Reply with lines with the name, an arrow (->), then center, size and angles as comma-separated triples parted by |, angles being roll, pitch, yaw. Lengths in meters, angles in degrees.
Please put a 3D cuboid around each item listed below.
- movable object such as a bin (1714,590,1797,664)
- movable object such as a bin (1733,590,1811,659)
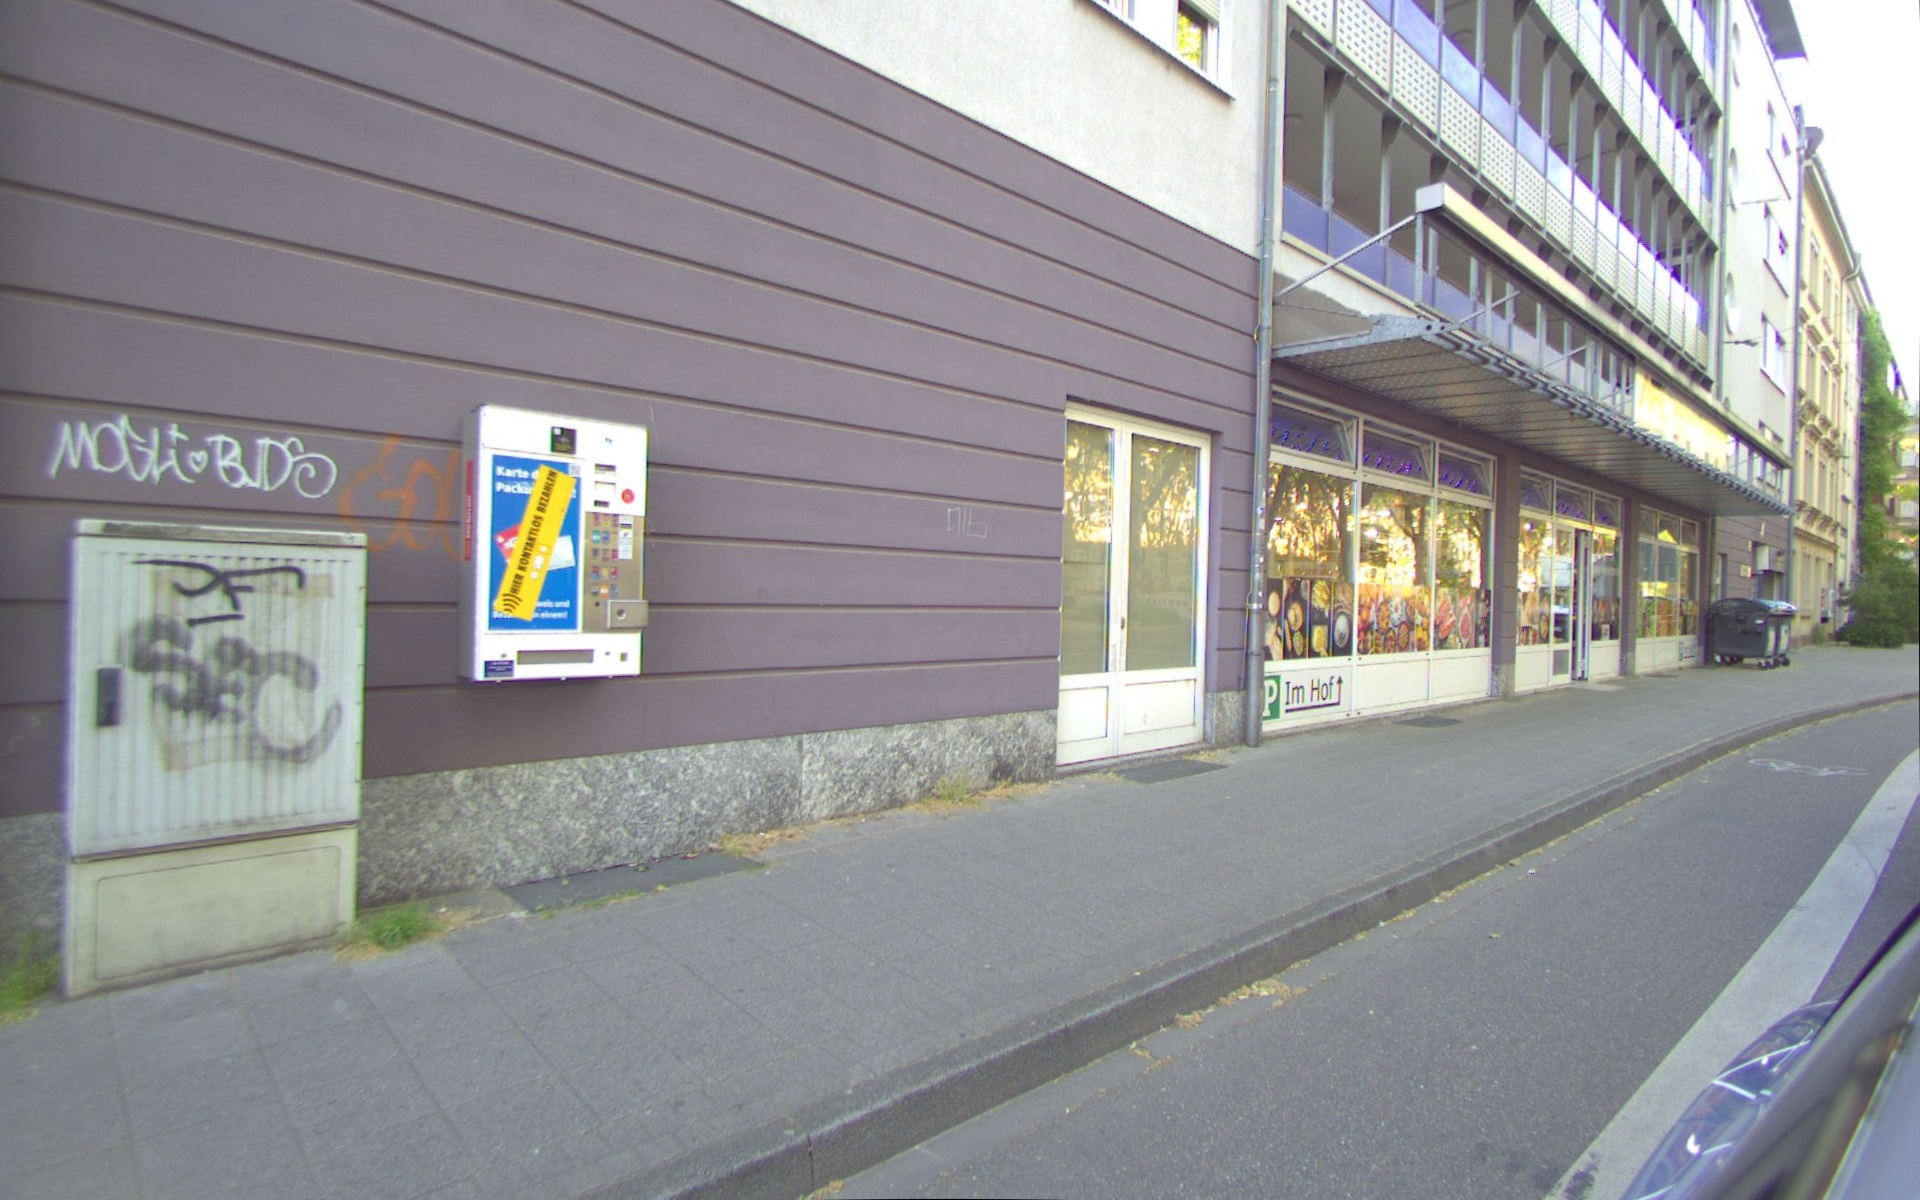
movable object such as a bin -> 16.319, 0.539, 20.766 | 0.923, 1.444, 1.158 | 1, 1, -40
movable object such as a bin -> 17.770, 0.516, 22.151 | 0.923, 1.444, 1.158 | 1, 1, -40
